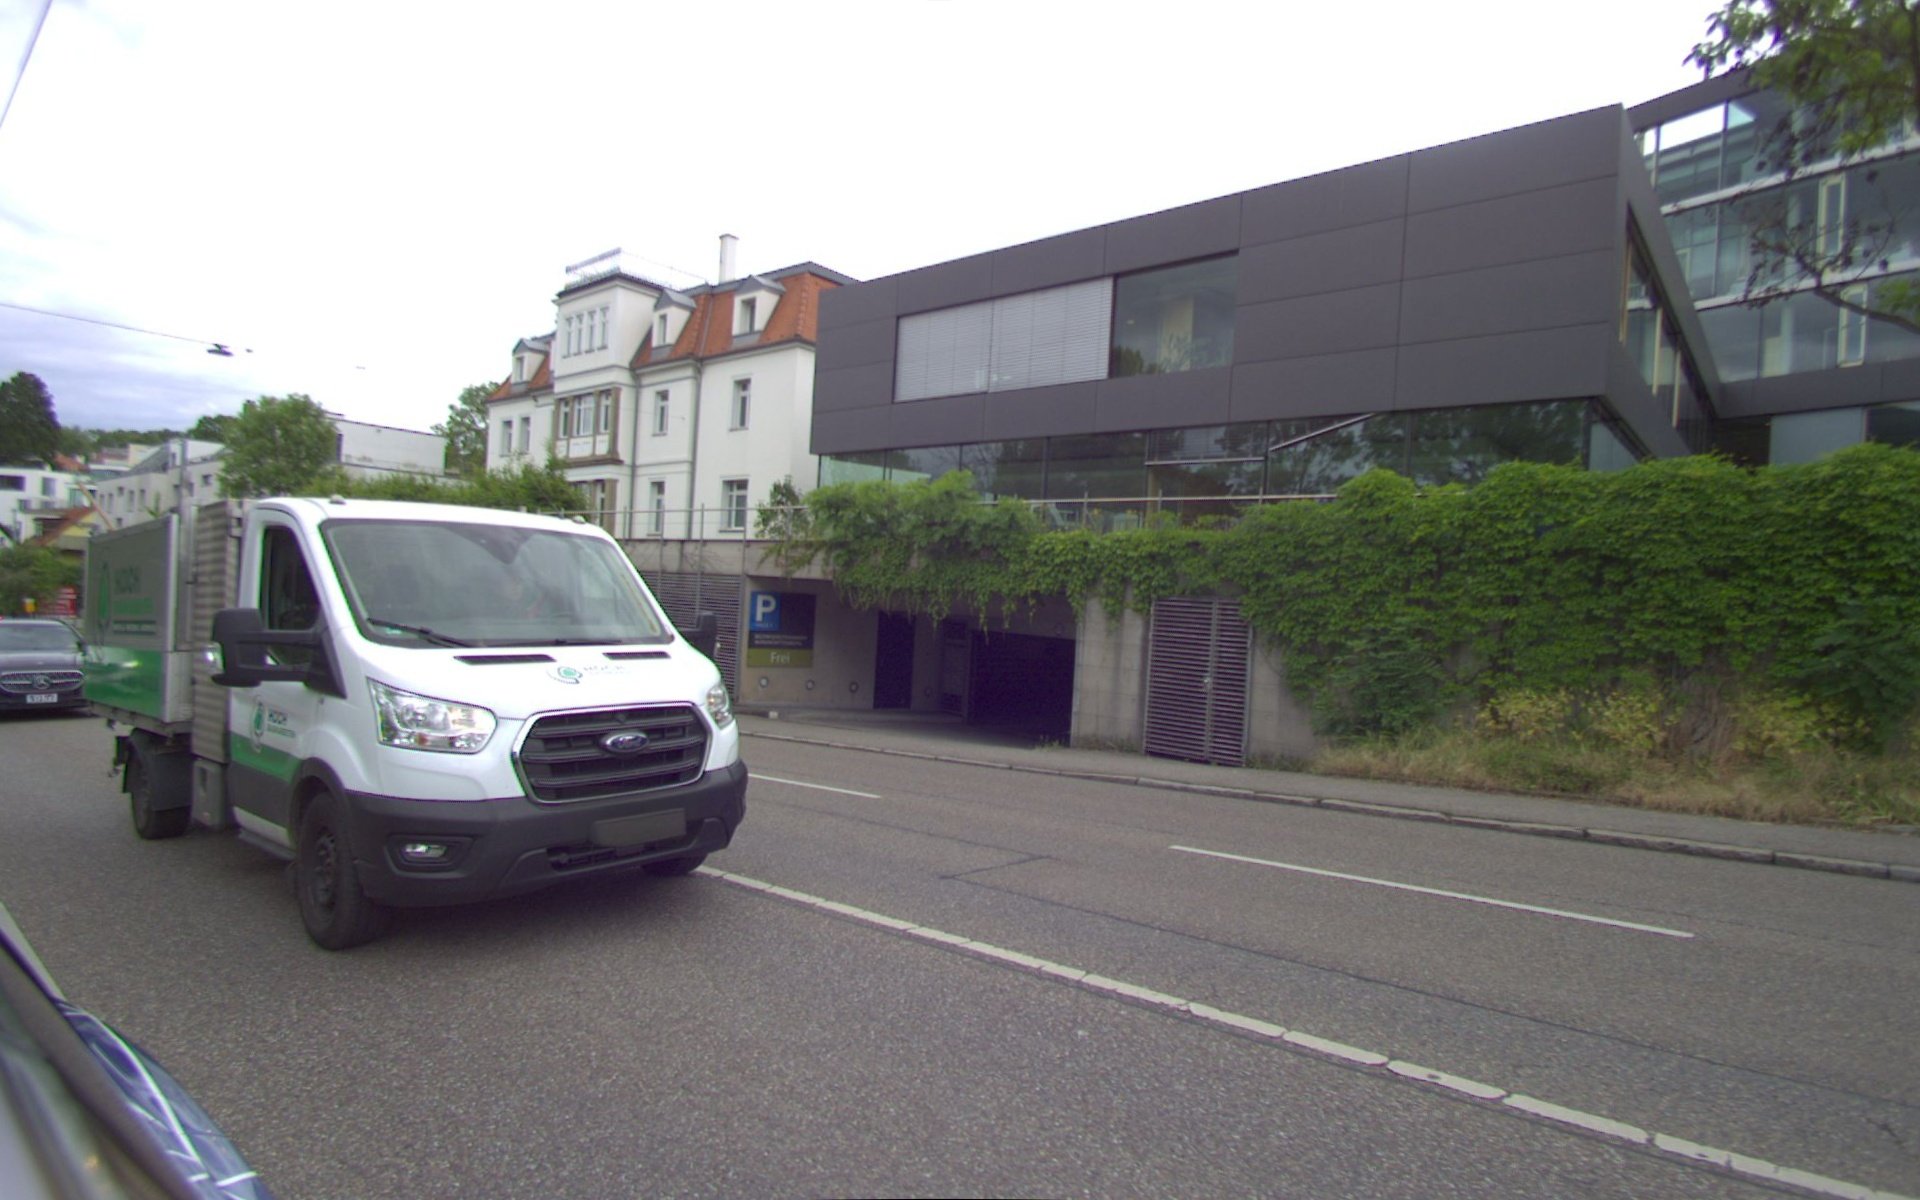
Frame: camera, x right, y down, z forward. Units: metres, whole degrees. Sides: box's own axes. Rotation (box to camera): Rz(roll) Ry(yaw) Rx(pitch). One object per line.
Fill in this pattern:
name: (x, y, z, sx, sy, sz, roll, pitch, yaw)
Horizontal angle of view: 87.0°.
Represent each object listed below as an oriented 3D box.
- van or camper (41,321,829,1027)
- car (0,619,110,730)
van or camper: (-3.792, 0.267, 6.618, 5.957, 2.682, 2.321, 1, 0, 38)
car: (-14.821, 1.075, 15.685, 4.333, 1.542, 1.854, -1, -2, 41)
